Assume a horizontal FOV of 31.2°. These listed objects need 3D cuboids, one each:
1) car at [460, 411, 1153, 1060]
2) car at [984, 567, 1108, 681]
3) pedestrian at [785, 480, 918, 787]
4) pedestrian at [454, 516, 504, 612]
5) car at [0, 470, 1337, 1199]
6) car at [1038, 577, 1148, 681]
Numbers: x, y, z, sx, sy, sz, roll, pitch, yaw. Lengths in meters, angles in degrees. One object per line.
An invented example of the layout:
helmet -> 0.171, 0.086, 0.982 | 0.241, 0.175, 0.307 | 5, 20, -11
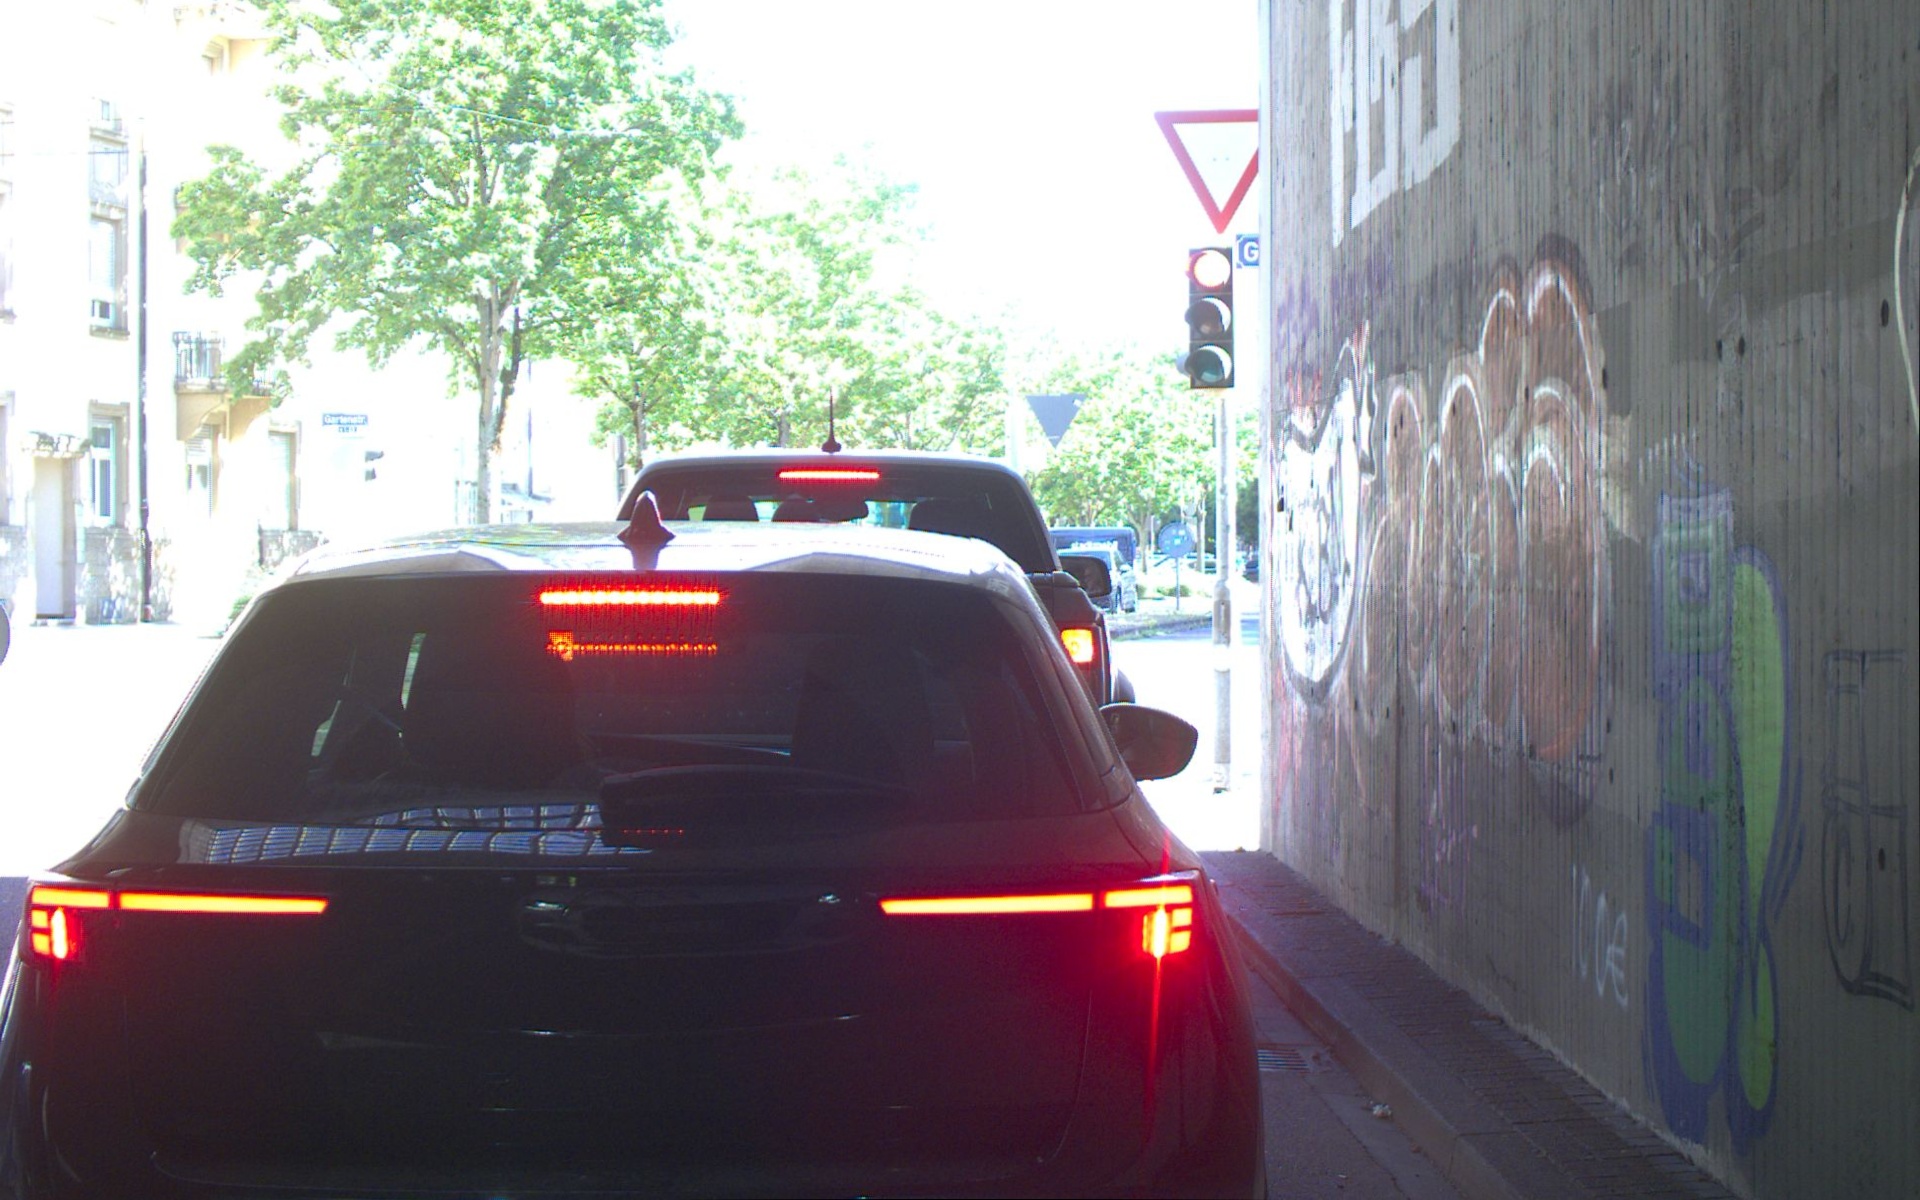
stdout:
car -> -0.464, 0.353, 11.958 | 1.993, 1.865, 4.000 | 0, 1, -1
car -> 1.596, 0.396, 62.327 | 1.994, 1.963, 4.163 | 1, 1, 5
pedestrian -> -0.619, 0.184, 19.893 | 0.731, 1.728, 0.874 | 1, 0, -1
pedestrian -> -10.549, -0.787, 75.440 | 0.892, 2.080, 0.808 | 1, 0, 7
car -> -0.479, 0.570, 5.995 | 1.764, 1.566, 4.001 | 1, 2, -1
car -> 2.681, 0.542, 68.526 | 1.994, 1.963, 4.163 | 1, 1, 5
